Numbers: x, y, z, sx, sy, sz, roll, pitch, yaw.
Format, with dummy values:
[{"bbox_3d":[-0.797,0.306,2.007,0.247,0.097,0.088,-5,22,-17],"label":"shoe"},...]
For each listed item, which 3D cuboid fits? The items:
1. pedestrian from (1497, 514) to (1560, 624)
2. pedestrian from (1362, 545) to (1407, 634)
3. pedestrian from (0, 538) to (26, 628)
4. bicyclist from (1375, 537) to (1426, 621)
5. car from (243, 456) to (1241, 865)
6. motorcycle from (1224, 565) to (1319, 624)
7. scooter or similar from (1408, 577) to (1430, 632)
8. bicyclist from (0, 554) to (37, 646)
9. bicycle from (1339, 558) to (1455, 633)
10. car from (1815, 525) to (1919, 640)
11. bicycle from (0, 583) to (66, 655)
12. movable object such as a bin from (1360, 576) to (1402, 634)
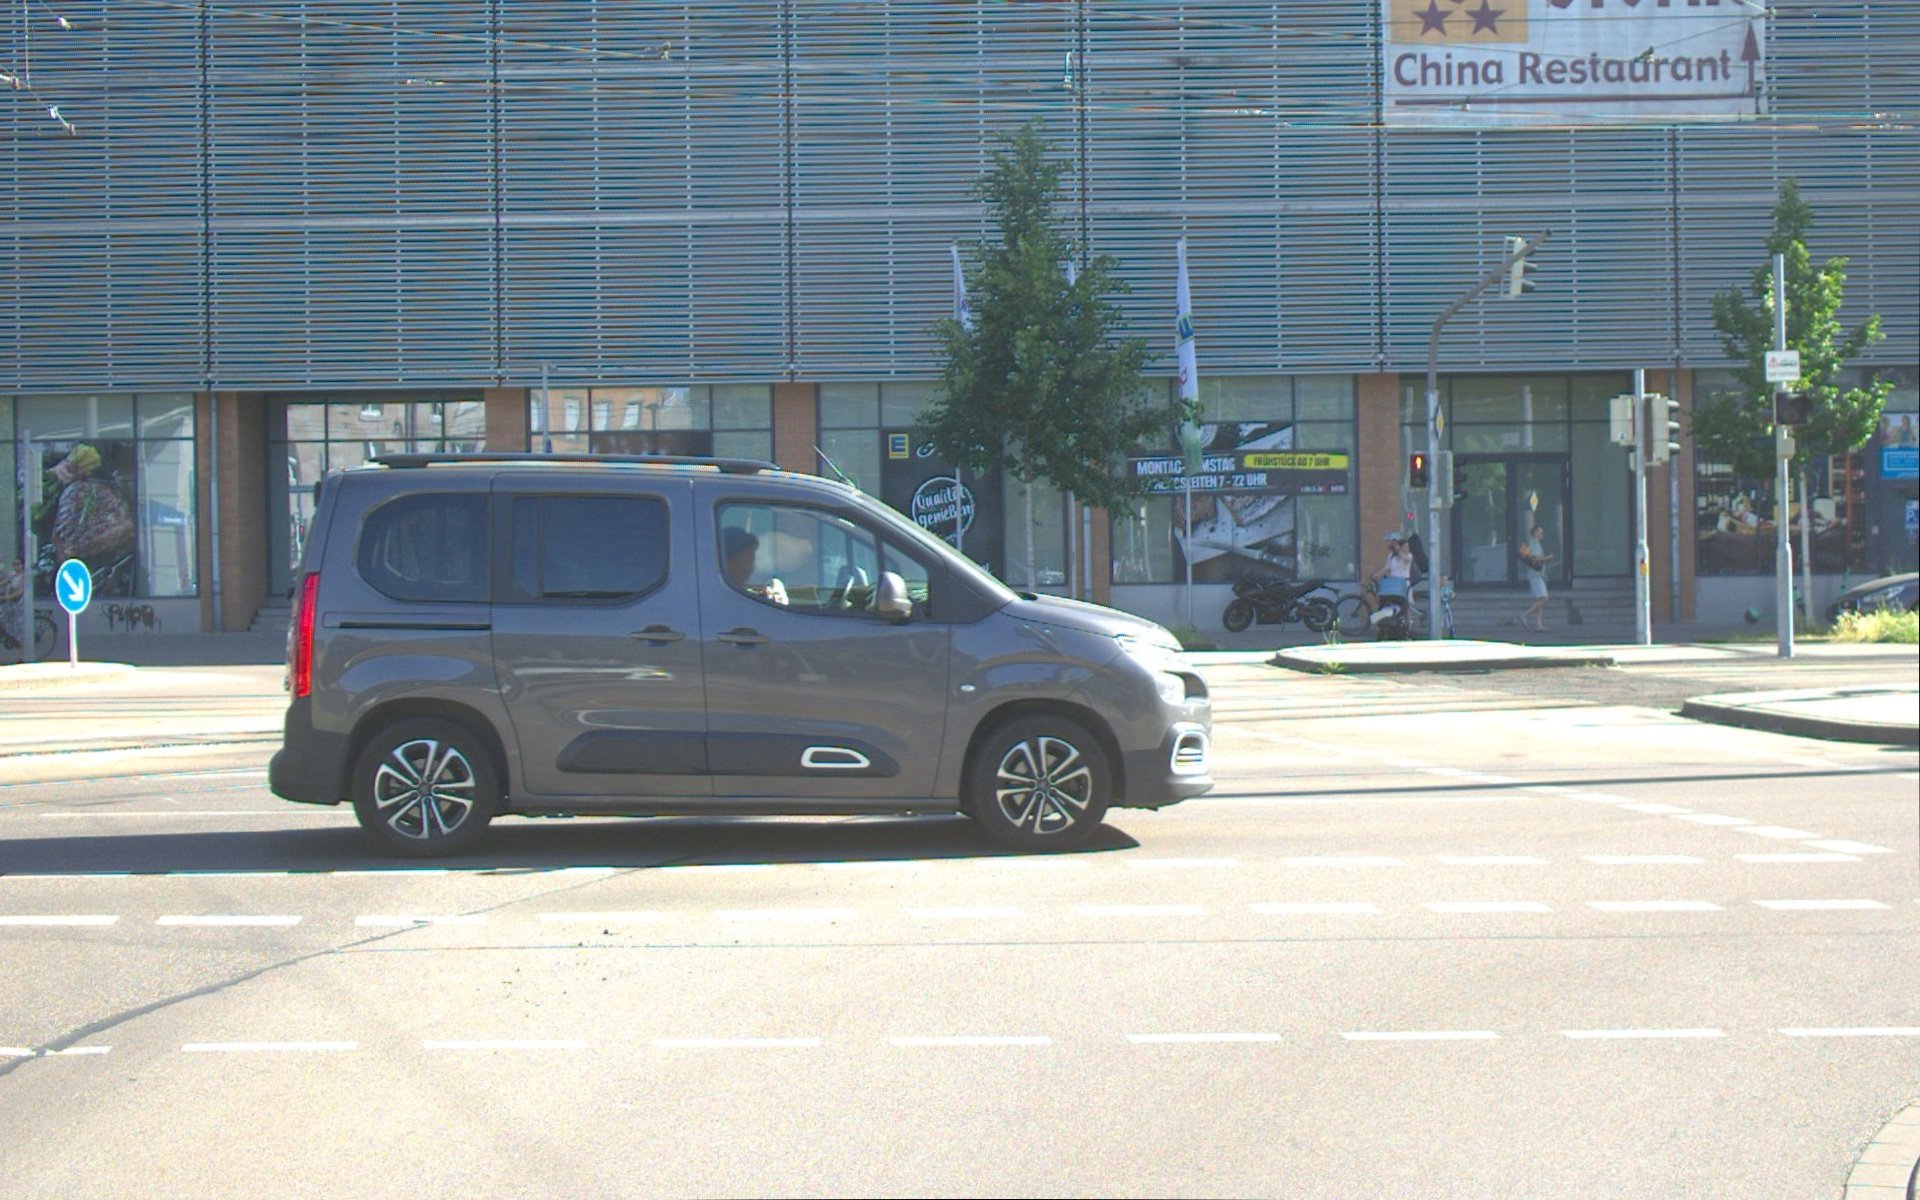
[{"bbox_3d":[9.823,-0.530,59.464,0.950,1.822,0.845,-2,-3,5],"label":"pedestrian"},{"bbox_3d":[6.833,-0.177,55.268,0.655,1.409,0.849,1,0,10],"label":"pedestrian"},{"bbox_3d":[-17.195,-0.306,61.607,0.661,1.595,0.594,1,0,18],"label":"pedestrian"},{"bbox_3d":[7.439,-0.355,58.077,0.753,1.382,0.565,-1,2,-1],"label":"bicyclist"},{"bbox_3d":[-1.041,0.238,16.247,4.457,1.785,1.710,0,1,-7],"label":"car"},{"bbox_3d":[5.496,-0.102,60.635,1.640,1.001,0.446,1,1,6],"label":"motorcycle"},{"bbox_3d":[7.353,0.075,55.091,0.295,0.870,1.003,1,0,10],"label":"scooter or similar"},{"bbox_3d":[-15.277,0.002,54.781,0.675,1.422,0.847,1,3,43],"label":"bicyclist"},{"bbox_3d":[7.383,-0.085,58.087,1.857,1.213,0.569,-1,2,-1],"label":"bicycle"},{"bbox_3d":[13.756,-0.143,45.845,4.146,1.464,1.841,3,0,-1],"label":"car"},{"bbox_3d":[-15.243,0.311,54.861,0.568,1.082,1.859,1,3,43],"label":"bicycle"},{"bbox_3d":[6.714,0.079,54.807,0.613,0.901,0.968,1,0,10],"label":"movable object such as a bin"}]
